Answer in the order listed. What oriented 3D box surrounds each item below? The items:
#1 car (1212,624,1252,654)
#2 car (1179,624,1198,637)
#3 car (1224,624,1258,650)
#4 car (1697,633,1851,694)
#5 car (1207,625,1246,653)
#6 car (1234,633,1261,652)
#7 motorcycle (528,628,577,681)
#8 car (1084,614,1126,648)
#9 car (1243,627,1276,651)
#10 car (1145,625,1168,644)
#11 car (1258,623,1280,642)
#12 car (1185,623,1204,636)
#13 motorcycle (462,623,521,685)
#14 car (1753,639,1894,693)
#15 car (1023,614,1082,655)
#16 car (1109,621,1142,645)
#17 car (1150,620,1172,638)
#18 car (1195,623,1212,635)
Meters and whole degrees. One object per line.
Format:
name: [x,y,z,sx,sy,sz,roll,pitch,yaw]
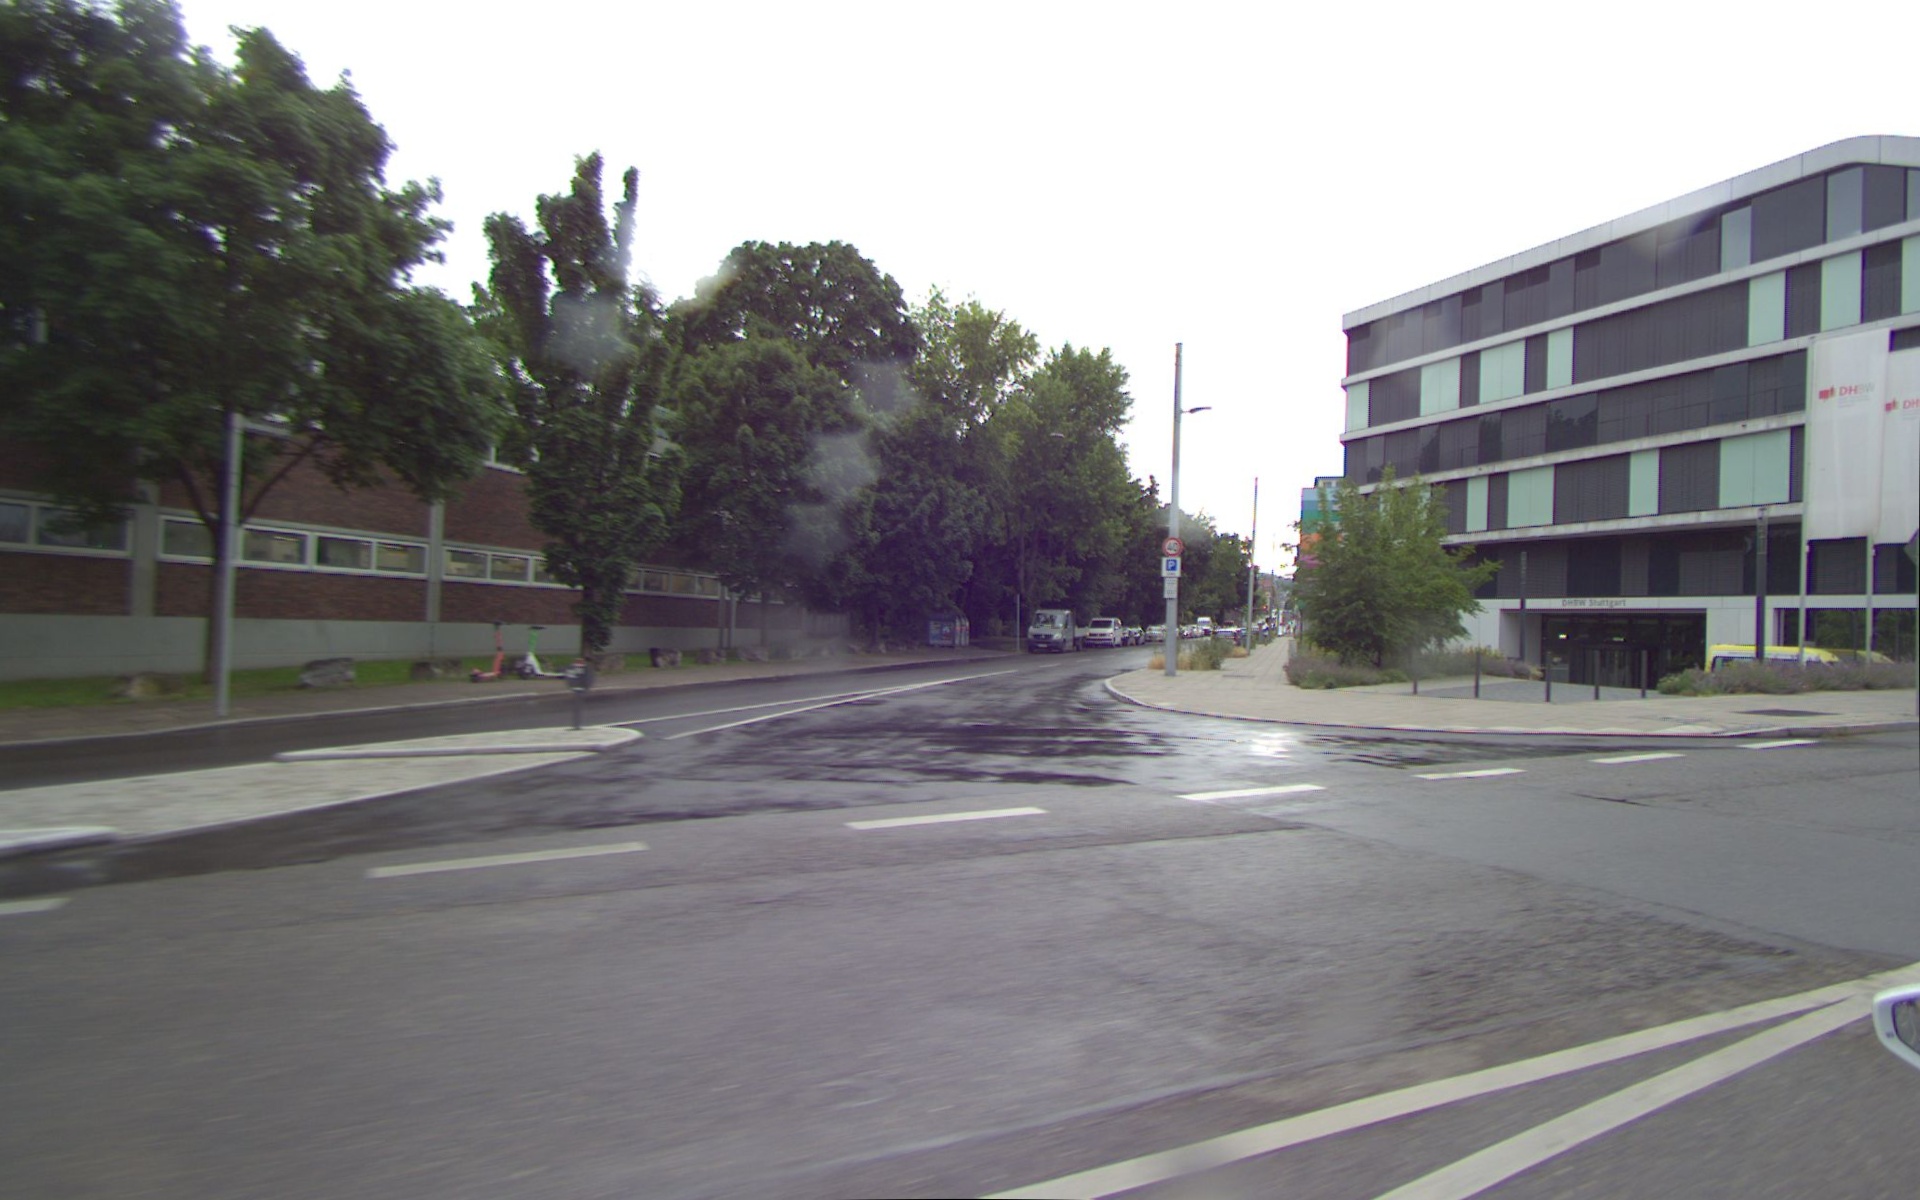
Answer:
car: [17.313,2.421,63.809,1.884,1.762,3.998,1,0,23]
car: [28.176,3.732,123.772,1.960,1.546,4.001,1,0,18]
car: [19.176,2.512,68.418,1.771,1.609,3.676,1,0,23]
car: [33.602,2.551,41.610,1.909,2.203,4.567,2,0,-31]
car: [15.418,2.228,58.063,1.636,1.469,3.866,1,0,23]
car: [20.576,3.009,71.852,1.453,1.258,3.399,1,0,23]
motorcycle: [-9.104,1.201,22.468,0.404,1.140,1.171,1,-1,12]
car: [9.786,2.044,67.480,2.126,2.124,4.840,1,0,16]
car: [23.501,3.017,78.687,1.962,1.762,3.998,1,0,23]
car: [17.923,3.110,91.523,1.712,1.628,3.867,1,0,16]
car: [26.420,2.787,85.949,1.414,1.514,3.637,0,-1,23]
car: [30.380,3.820,130.106,1.960,1.546,4.001,1,0,18]
motorcycle: [-9.542,1.080,20.478,0.404,1.201,1.228,1,0,12]
car: [37.173,2.796,43.364,1.577,2.059,4.329,1,0,-25]
car: [5.055,1.843,54.438,2.036,2.070,4.279,1,0,21]
car: [12.192,2.386,73.762,1.892,1.628,4.281,1,0,16]
car: [19.239,2.762,96.081,1.712,1.628,3.899,1,0,16]
car: [33.861,3.957,139.686,1.960,1.546,4.001,1,0,18]
